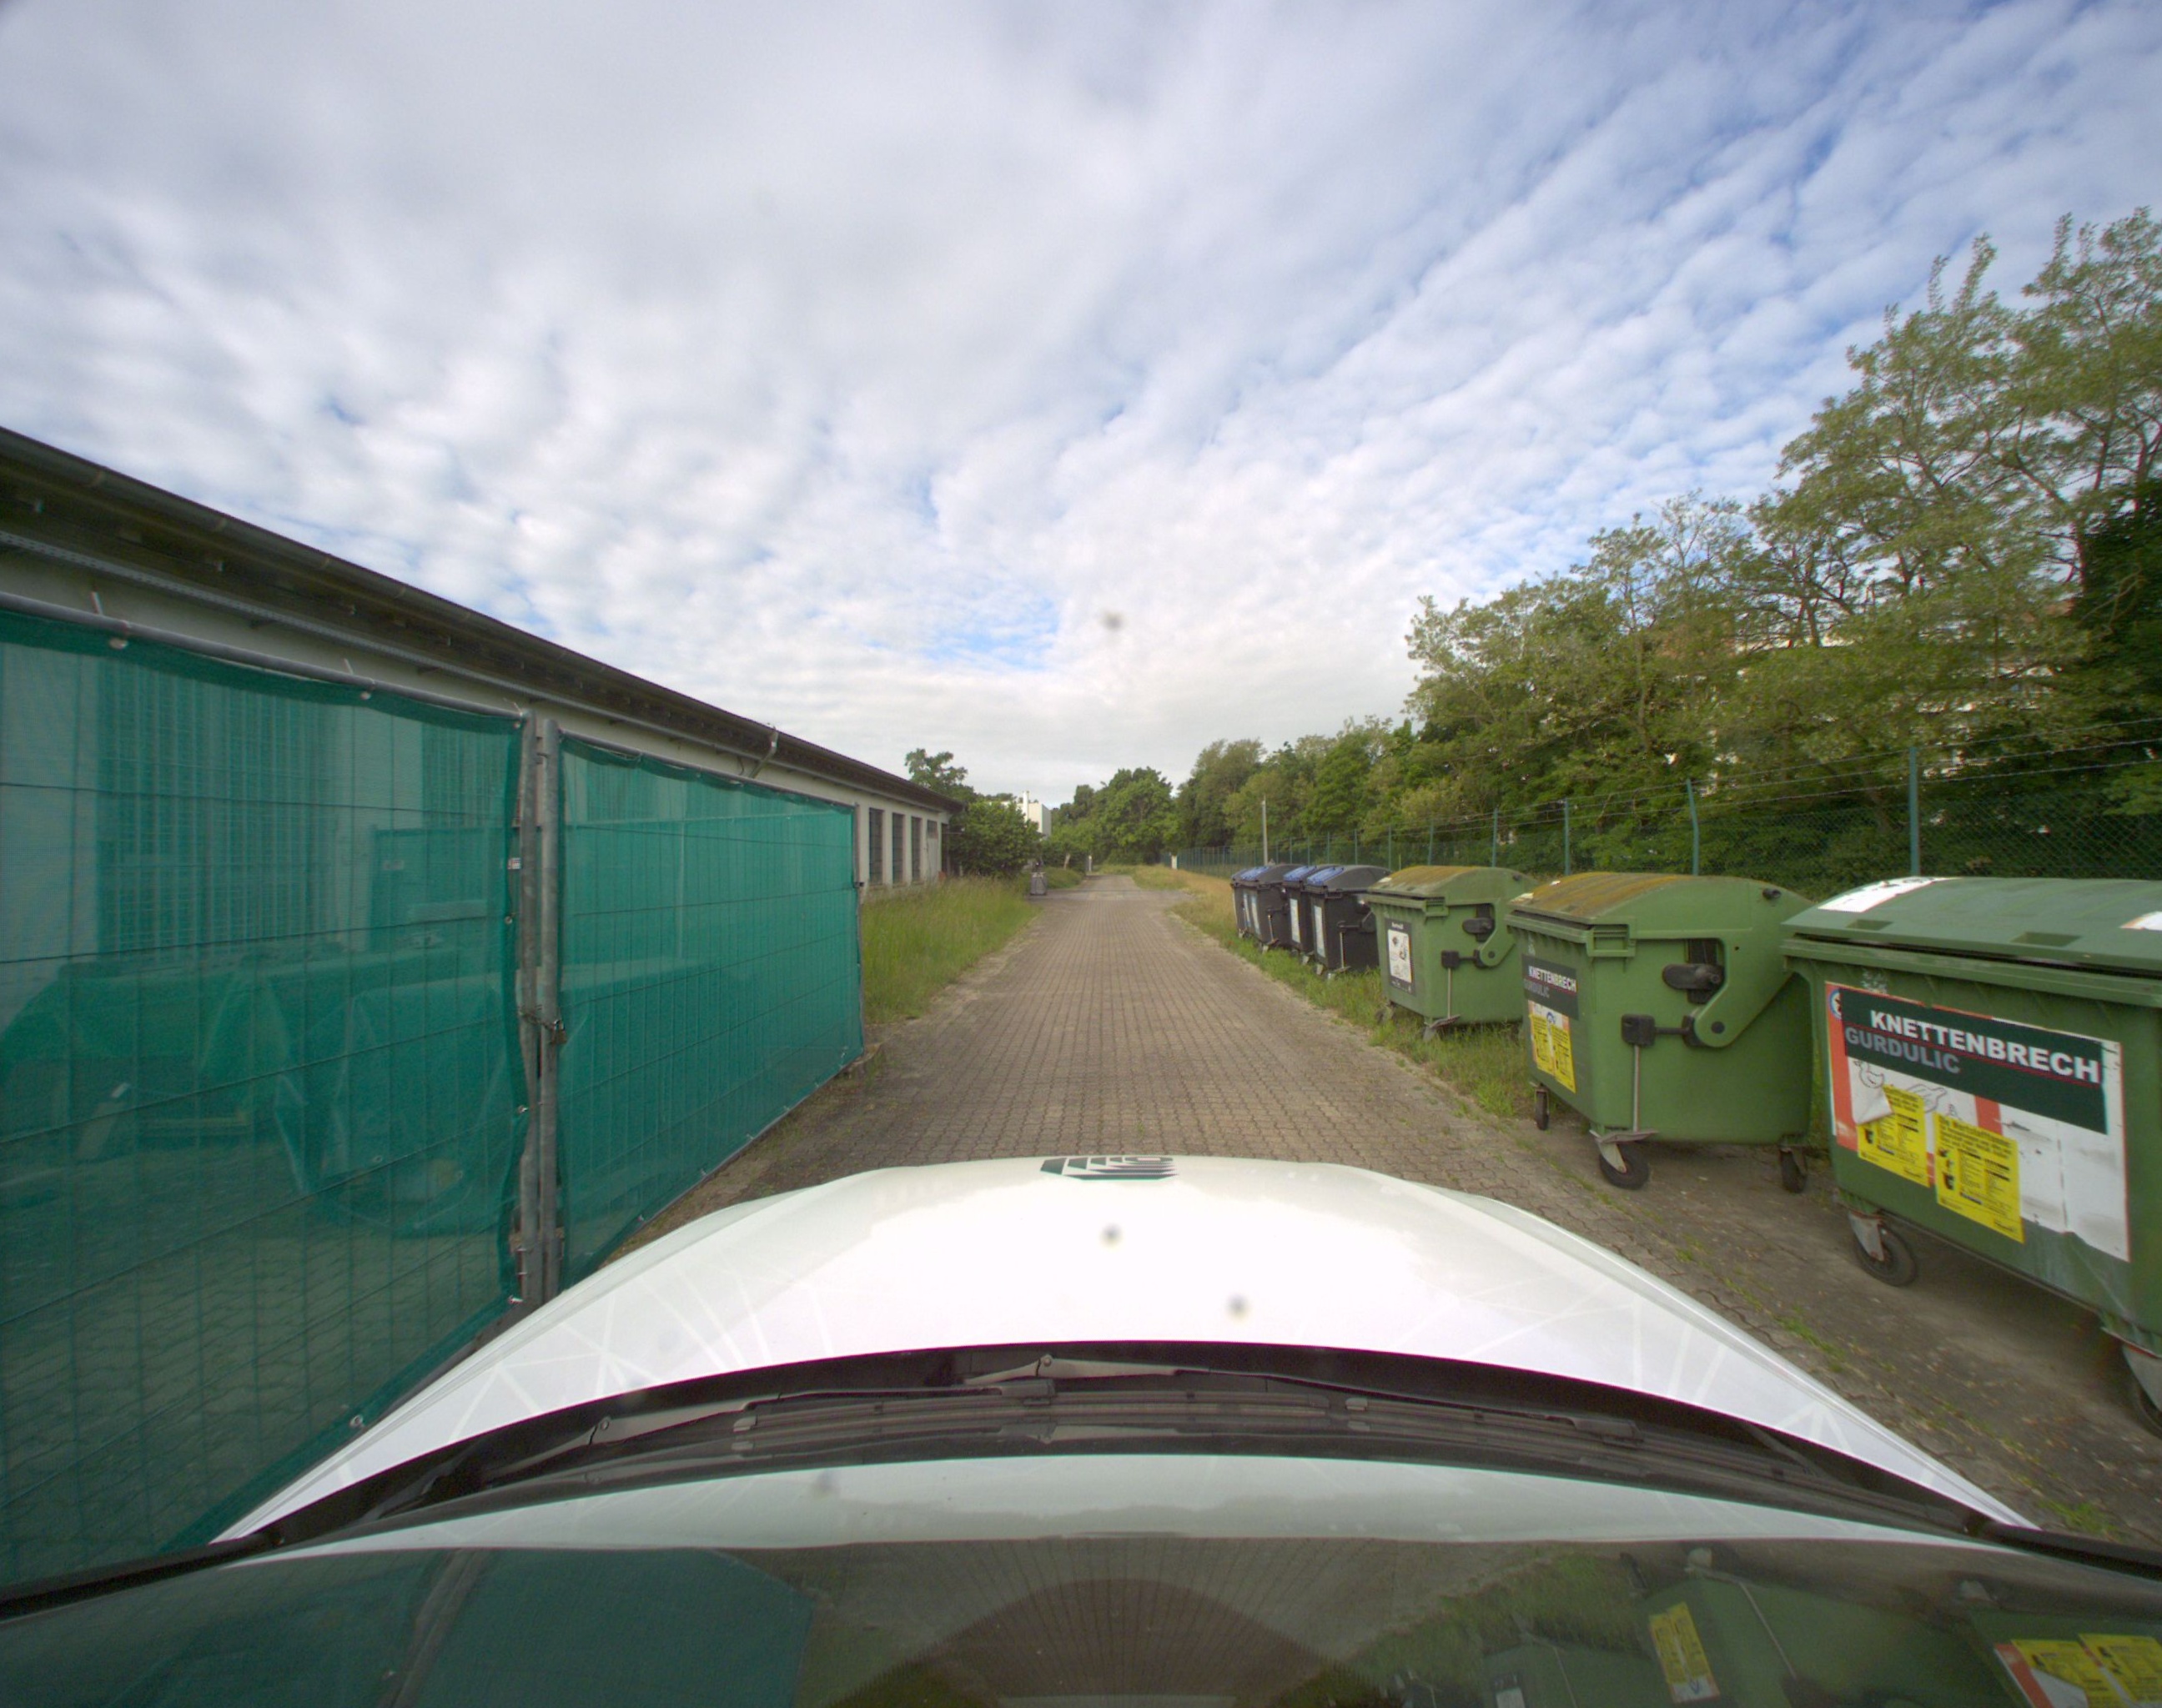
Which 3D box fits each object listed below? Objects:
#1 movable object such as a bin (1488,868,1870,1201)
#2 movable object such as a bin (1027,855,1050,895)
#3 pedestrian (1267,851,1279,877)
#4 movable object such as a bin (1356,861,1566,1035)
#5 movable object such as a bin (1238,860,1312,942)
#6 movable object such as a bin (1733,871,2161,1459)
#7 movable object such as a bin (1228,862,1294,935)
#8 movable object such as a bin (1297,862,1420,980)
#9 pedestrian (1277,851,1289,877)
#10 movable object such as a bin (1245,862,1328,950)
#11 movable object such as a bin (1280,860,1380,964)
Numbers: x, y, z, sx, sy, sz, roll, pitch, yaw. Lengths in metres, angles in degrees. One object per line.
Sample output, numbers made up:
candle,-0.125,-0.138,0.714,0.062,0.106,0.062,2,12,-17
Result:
movable object such as a bin,2.916,0.780,4.231,1.115,1.398,1.390,-1,-1,12
movable object such as a bin,-2.139,1.066,41.055,0.929,1.982,0.856,-1,-1,10
pedestrian,15.021,0.769,63.725,0.757,2.014,0.664,-1,-1,0
movable object such as a bin,3.098,0.723,6.833,1.119,1.296,1.380,0,-1,1
movable object such as a bin,3.401,0.813,14.413,1.117,1.379,1.328,-1,-1,7
movable object such as a bin,3.185,0.764,2.636,1.064,1.406,1.387,-1,-1,5
movable object such as a bin,3.468,0.848,15.830,1.117,1.350,1.429,-1,-1,7
movable object such as a bin,3.355,0.779,10.024,1.148,1.325,1.496,-1,-1,7
pedestrian,15.788,0.782,63.573,0.757,2.014,0.664,-1,-1,0
movable object such as a bin,3.273,0.807,13.114,1.116,1.321,1.328,-1,-1,7
movable object such as a bin,3.492,0.786,11.603,1.117,1.374,1.496,-1,-1,7
